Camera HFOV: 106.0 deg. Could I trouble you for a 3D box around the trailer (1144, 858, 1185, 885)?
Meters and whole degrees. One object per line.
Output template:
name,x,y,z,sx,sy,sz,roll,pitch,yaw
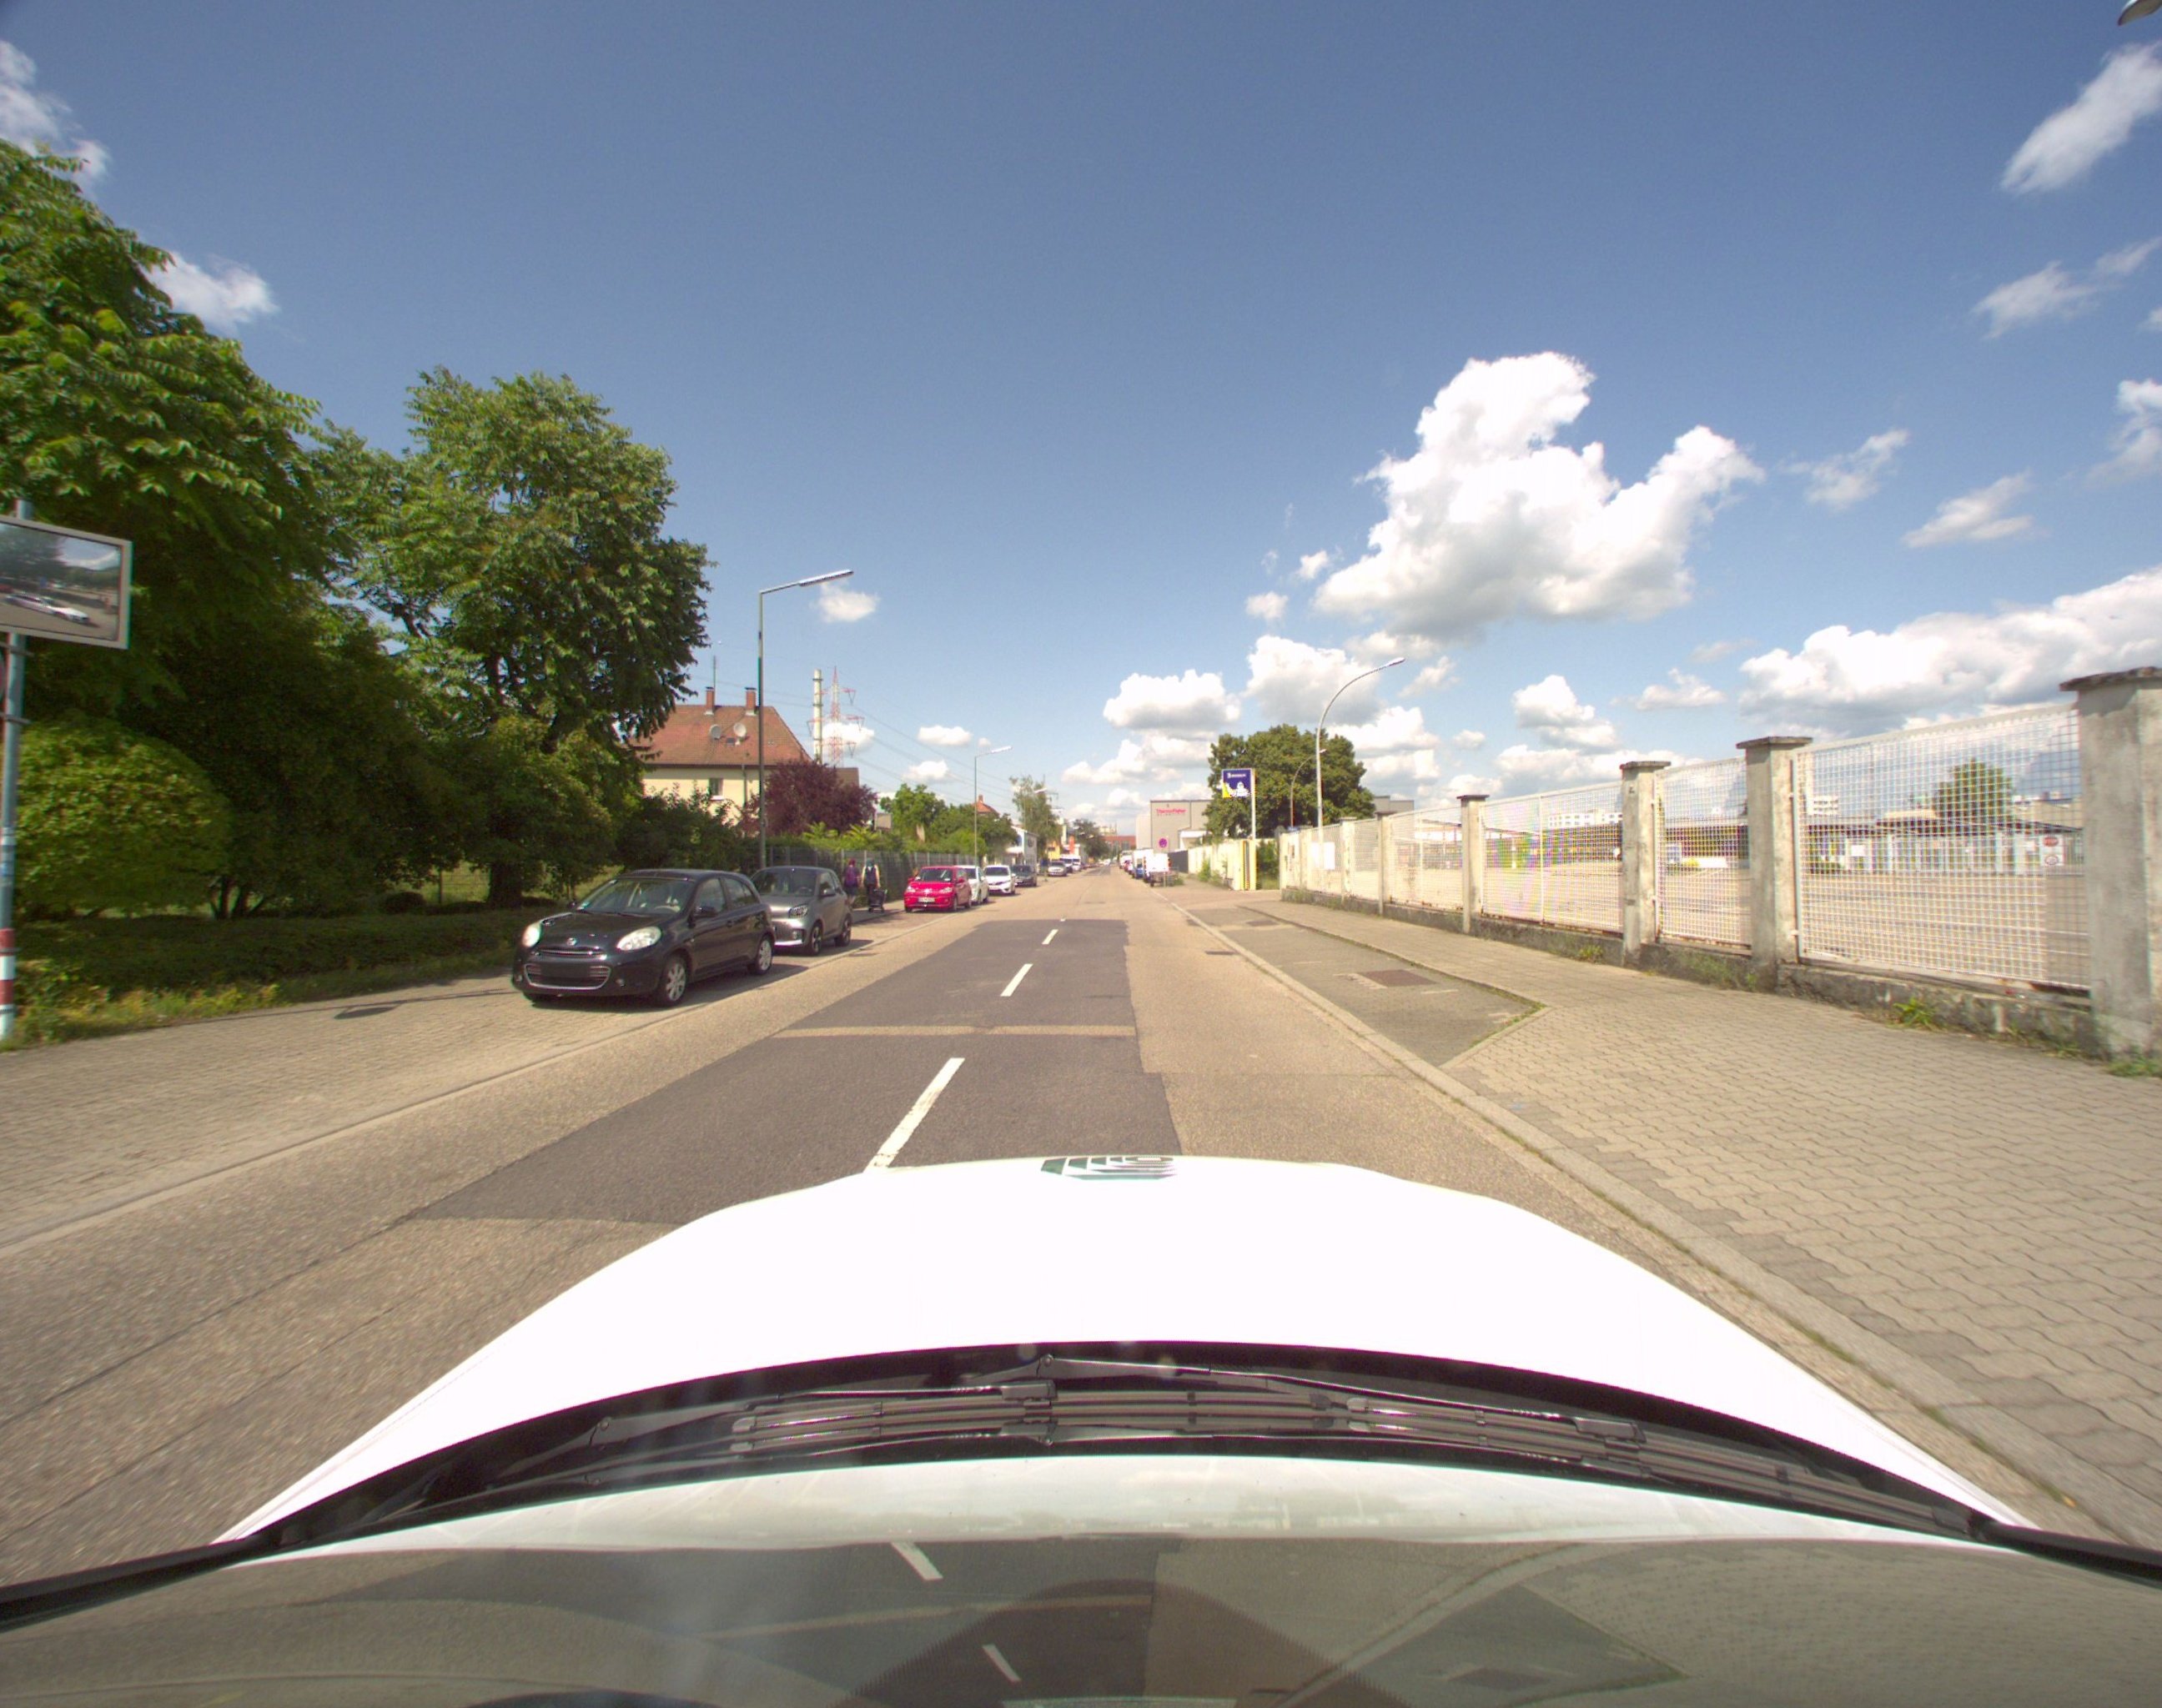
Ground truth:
trailer,4.995,1.065,49.342,1.745,1.417,4.544,-4,-1,-3

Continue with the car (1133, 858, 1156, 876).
car,5.601,1.129,72.088,1.684,1.461,4.071,-3,-1,1

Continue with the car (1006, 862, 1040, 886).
car,-3.684,1.271,52.694,1.799,1.418,4.497,1,0,1

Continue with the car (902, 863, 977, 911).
car,-4.634,1.039,27.158,1.659,1.467,3.746,1,-1,3

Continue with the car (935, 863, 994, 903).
car,-4.508,1.096,31.973,1.639,1.477,4.029,-1,-1,1

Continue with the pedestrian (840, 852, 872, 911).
pedestrian,-6.973,0.836,25.260,0.705,1.801,0.916,-1,-1,2

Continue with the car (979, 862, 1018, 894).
car,-4.110,1.182,41.170,1.615,1.522,4.173,-1,0,-1

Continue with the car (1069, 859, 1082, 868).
car,-0.880,1.595,132.553,1.788,1.397,4.505,1,-1,3

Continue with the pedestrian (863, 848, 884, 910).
pedestrian,-6.483,0.779,25.473,0.449,1.894,0.678,-1,-1,2

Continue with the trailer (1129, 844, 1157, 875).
trailer,5.907,0.558,78.654,2.196,2.737,6.223,-4,-1,1

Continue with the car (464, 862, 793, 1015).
car,-5.428,0.900,10.501,1.838,1.508,4.001,2,0,2

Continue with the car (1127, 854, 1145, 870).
car,6.572,0.928,97.252,1.928,1.693,4.682,-3,0,2

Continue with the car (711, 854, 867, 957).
car,-5.268,0.864,15.139,1.645,1.645,3.273,2,0,0

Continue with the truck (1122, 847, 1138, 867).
truck,8.506,0.540,141.299,2.449,3.293,6.821,-5,-1,3

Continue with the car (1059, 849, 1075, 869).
car,-1.926,0.735,112.828,2.023,2.558,6.656,1,-1,0

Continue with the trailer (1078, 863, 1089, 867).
trailer,0.497,2.679,190.175,2.353,0.893,5.571,1,-1,2

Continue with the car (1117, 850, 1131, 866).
car,9.022,0.878,172.292,2.381,3.363,6.642,-4,-1,-1

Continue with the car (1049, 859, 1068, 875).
car,-2.474,1.417,90.052,1.784,1.719,4.753,2,-1,2

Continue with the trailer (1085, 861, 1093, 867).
trailer,2.139,2.507,211.180,1.986,1.557,4.255,0,-1,2

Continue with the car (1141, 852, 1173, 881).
car,5.494,0.906,59.654,1.986,2.014,5.652,-1,-1,2

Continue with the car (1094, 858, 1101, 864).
car,5.208,2.297,250.171,1.913,1.794,4.005,1,-1,4

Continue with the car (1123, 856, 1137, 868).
car,7.453,1.204,123.679,2.045,1.903,5.151,-1,0,3

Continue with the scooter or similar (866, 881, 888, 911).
scooter or similar,-6.238,1.287,24.935,0.469,0.887,0.710,-1,-1,2
